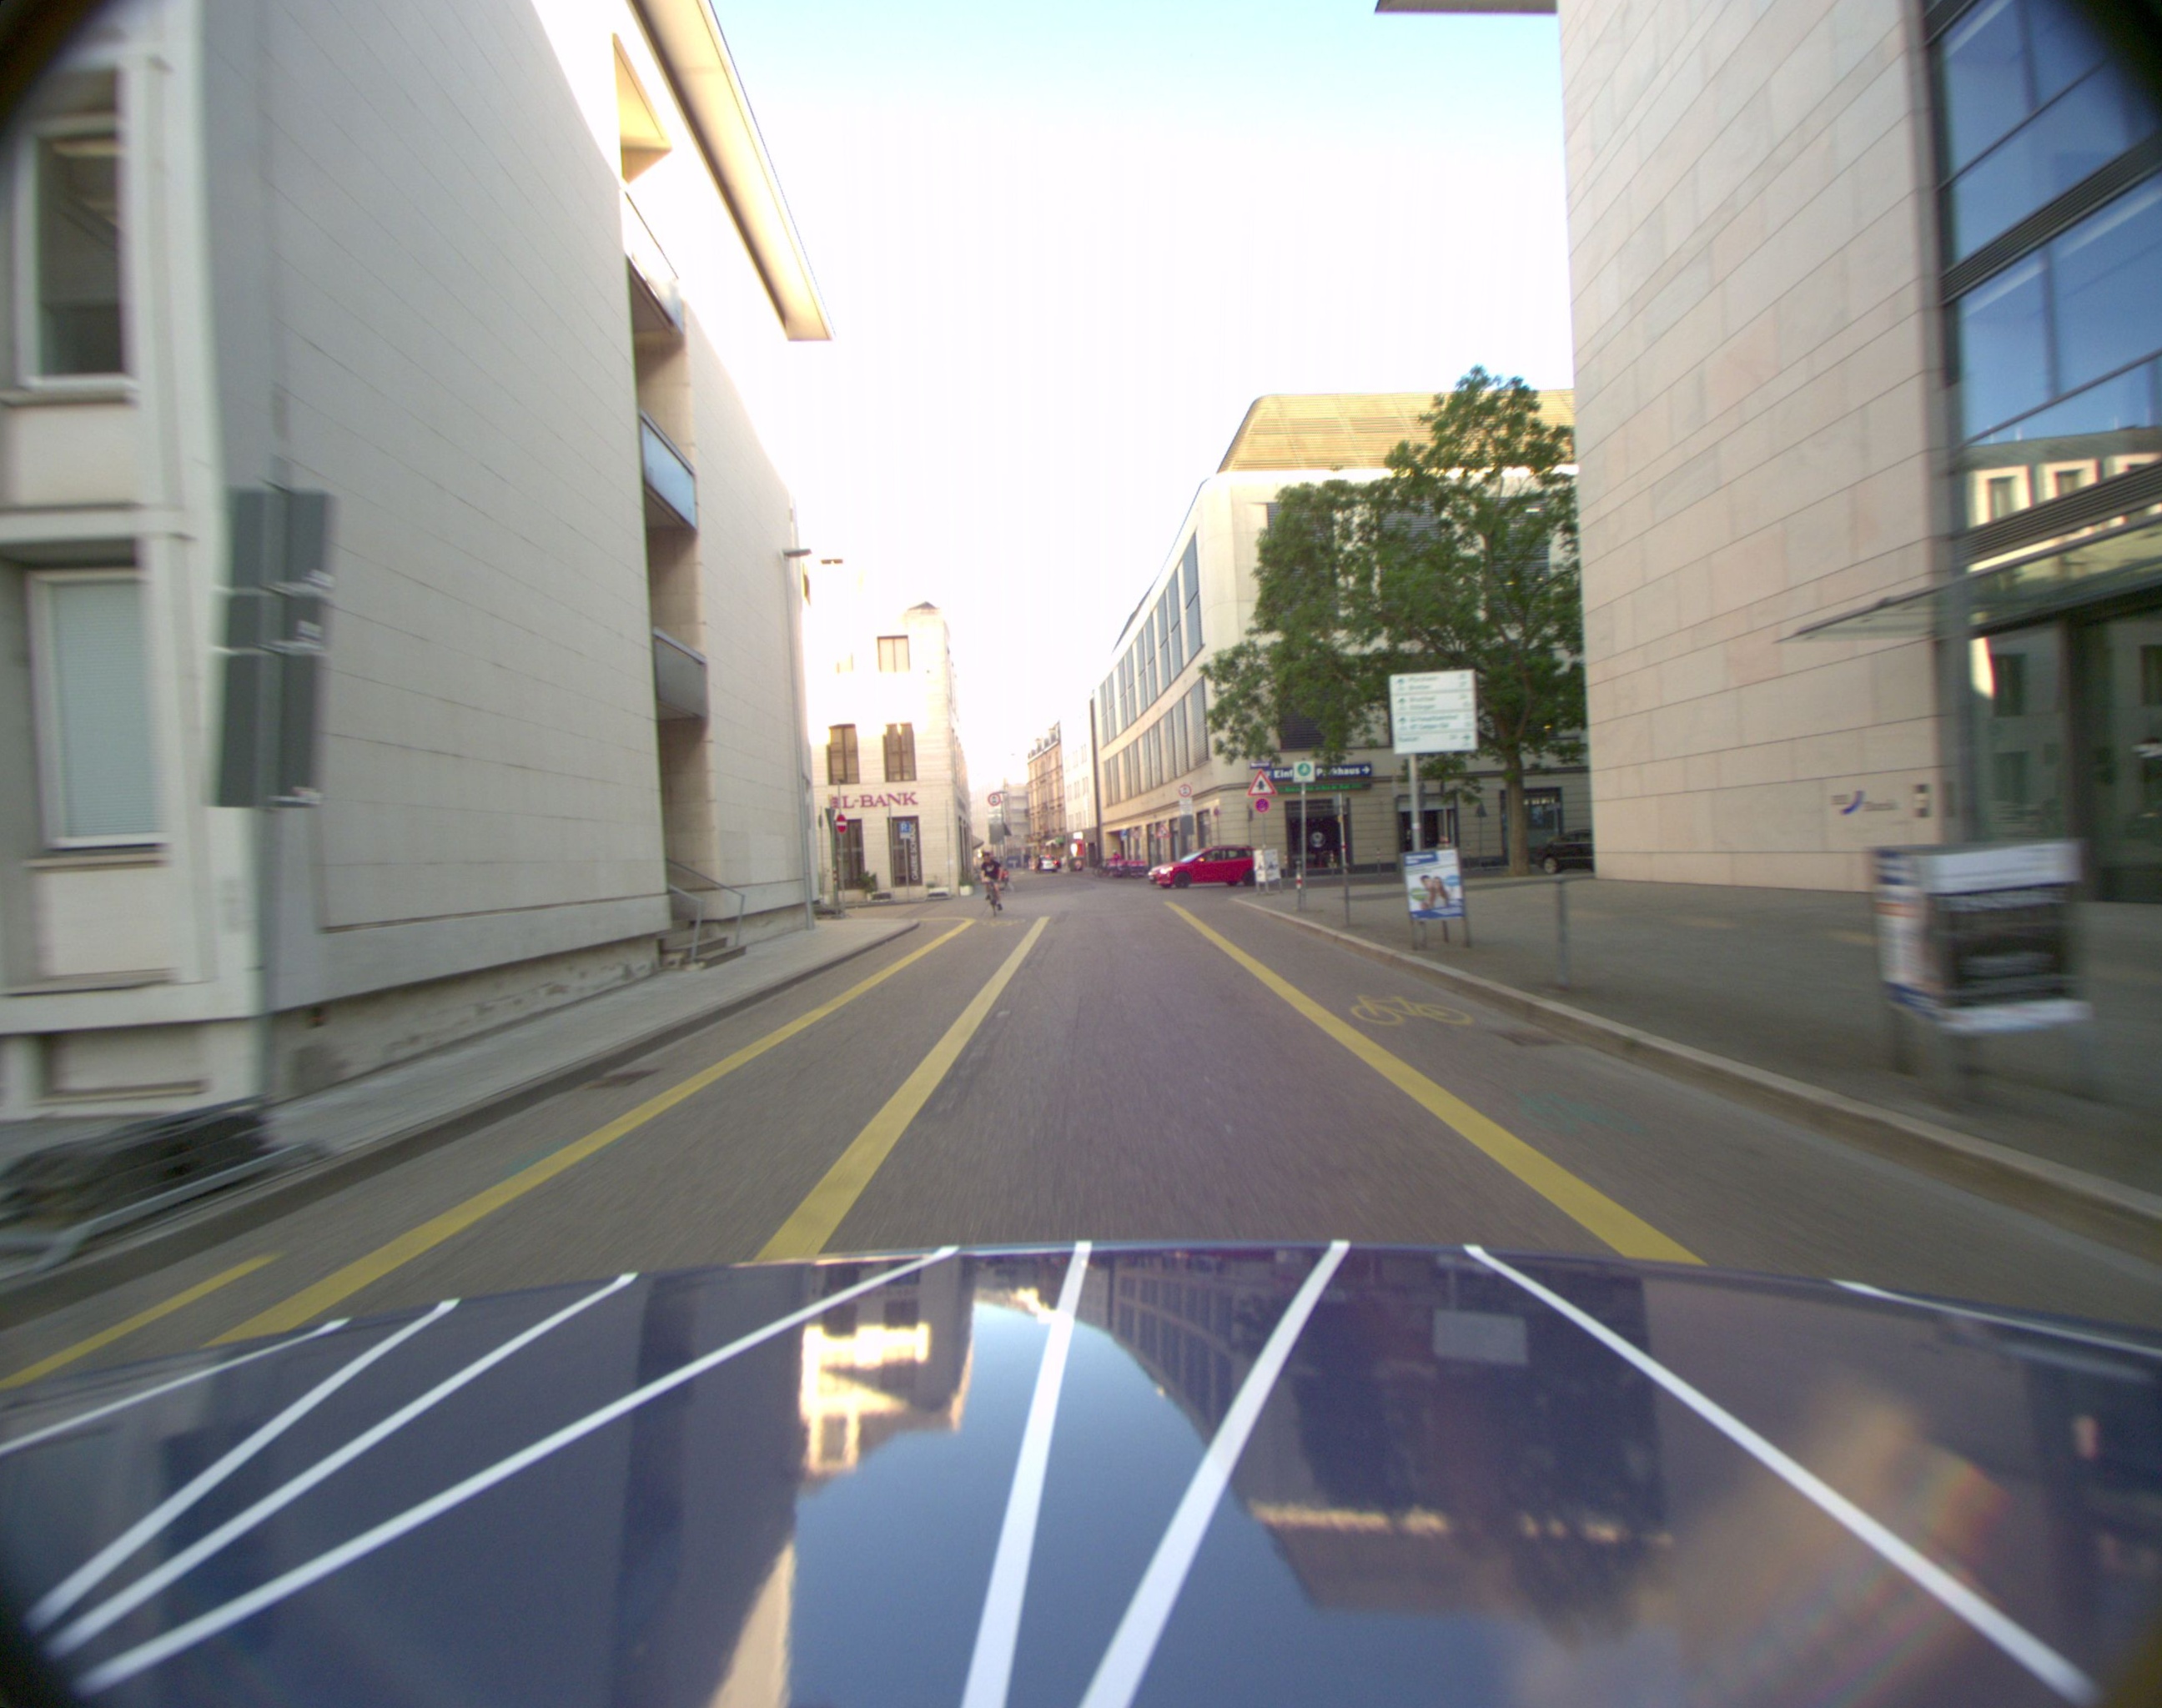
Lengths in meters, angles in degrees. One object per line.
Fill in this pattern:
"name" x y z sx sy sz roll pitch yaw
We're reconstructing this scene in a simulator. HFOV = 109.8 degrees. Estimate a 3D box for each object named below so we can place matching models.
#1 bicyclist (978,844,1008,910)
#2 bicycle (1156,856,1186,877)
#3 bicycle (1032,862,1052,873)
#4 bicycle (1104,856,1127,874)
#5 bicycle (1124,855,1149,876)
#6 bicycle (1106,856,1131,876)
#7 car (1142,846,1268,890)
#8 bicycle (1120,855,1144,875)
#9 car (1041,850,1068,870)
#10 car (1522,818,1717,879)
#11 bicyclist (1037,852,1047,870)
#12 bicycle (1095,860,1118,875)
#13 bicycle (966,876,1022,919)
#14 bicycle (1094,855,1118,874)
"bicyclist" -2.345 0.615 20.237 0.500 1.722 0.552 -1 2 28
"bicycle" 4.836 0.665 40.889 1.516 1.027 0.353 -3 1 17
"bicycle" -3.461 1.180 67.324 2.103 0.989 0.519 -1 2 44
"bicycle" 2.420 0.762 53.618 1.517 1.243 0.353 -2 2 8
"bicycle" 3.481 0.739 47.764 1.518 1.243 0.353 -2 2 0
"bicycle" 2.414 0.788 48.861 1.516 1.243 0.353 -2 2 13
"car" 4.631 0.488 28.497 4.265 1.456 1.826 -1 1 -13
"bicycle" 3.430 0.723 50.903 1.516 1.243 0.353 -2 2 13
"car" -2.575 0.533 72.135 2.177 1.652 3.997 -2 1 -7
"car" 16.150 -0.077 23.245 1.999 1.442 5.021 -2 -3 -6
"bicyclist" -3.423 0.603 67.264 0.499 1.616 0.630 -4 3 -44
"bicycle" 1.693 0.905 50.974 1.518 0.947 0.353 -2 2 1
"bicycle" -2.297 1.142 20.324 0.510 0.968 1.823 -1 2 28
"bicycle" 1.714 0.729 51.946 1.517 1.243 0.353 -2 2 4
